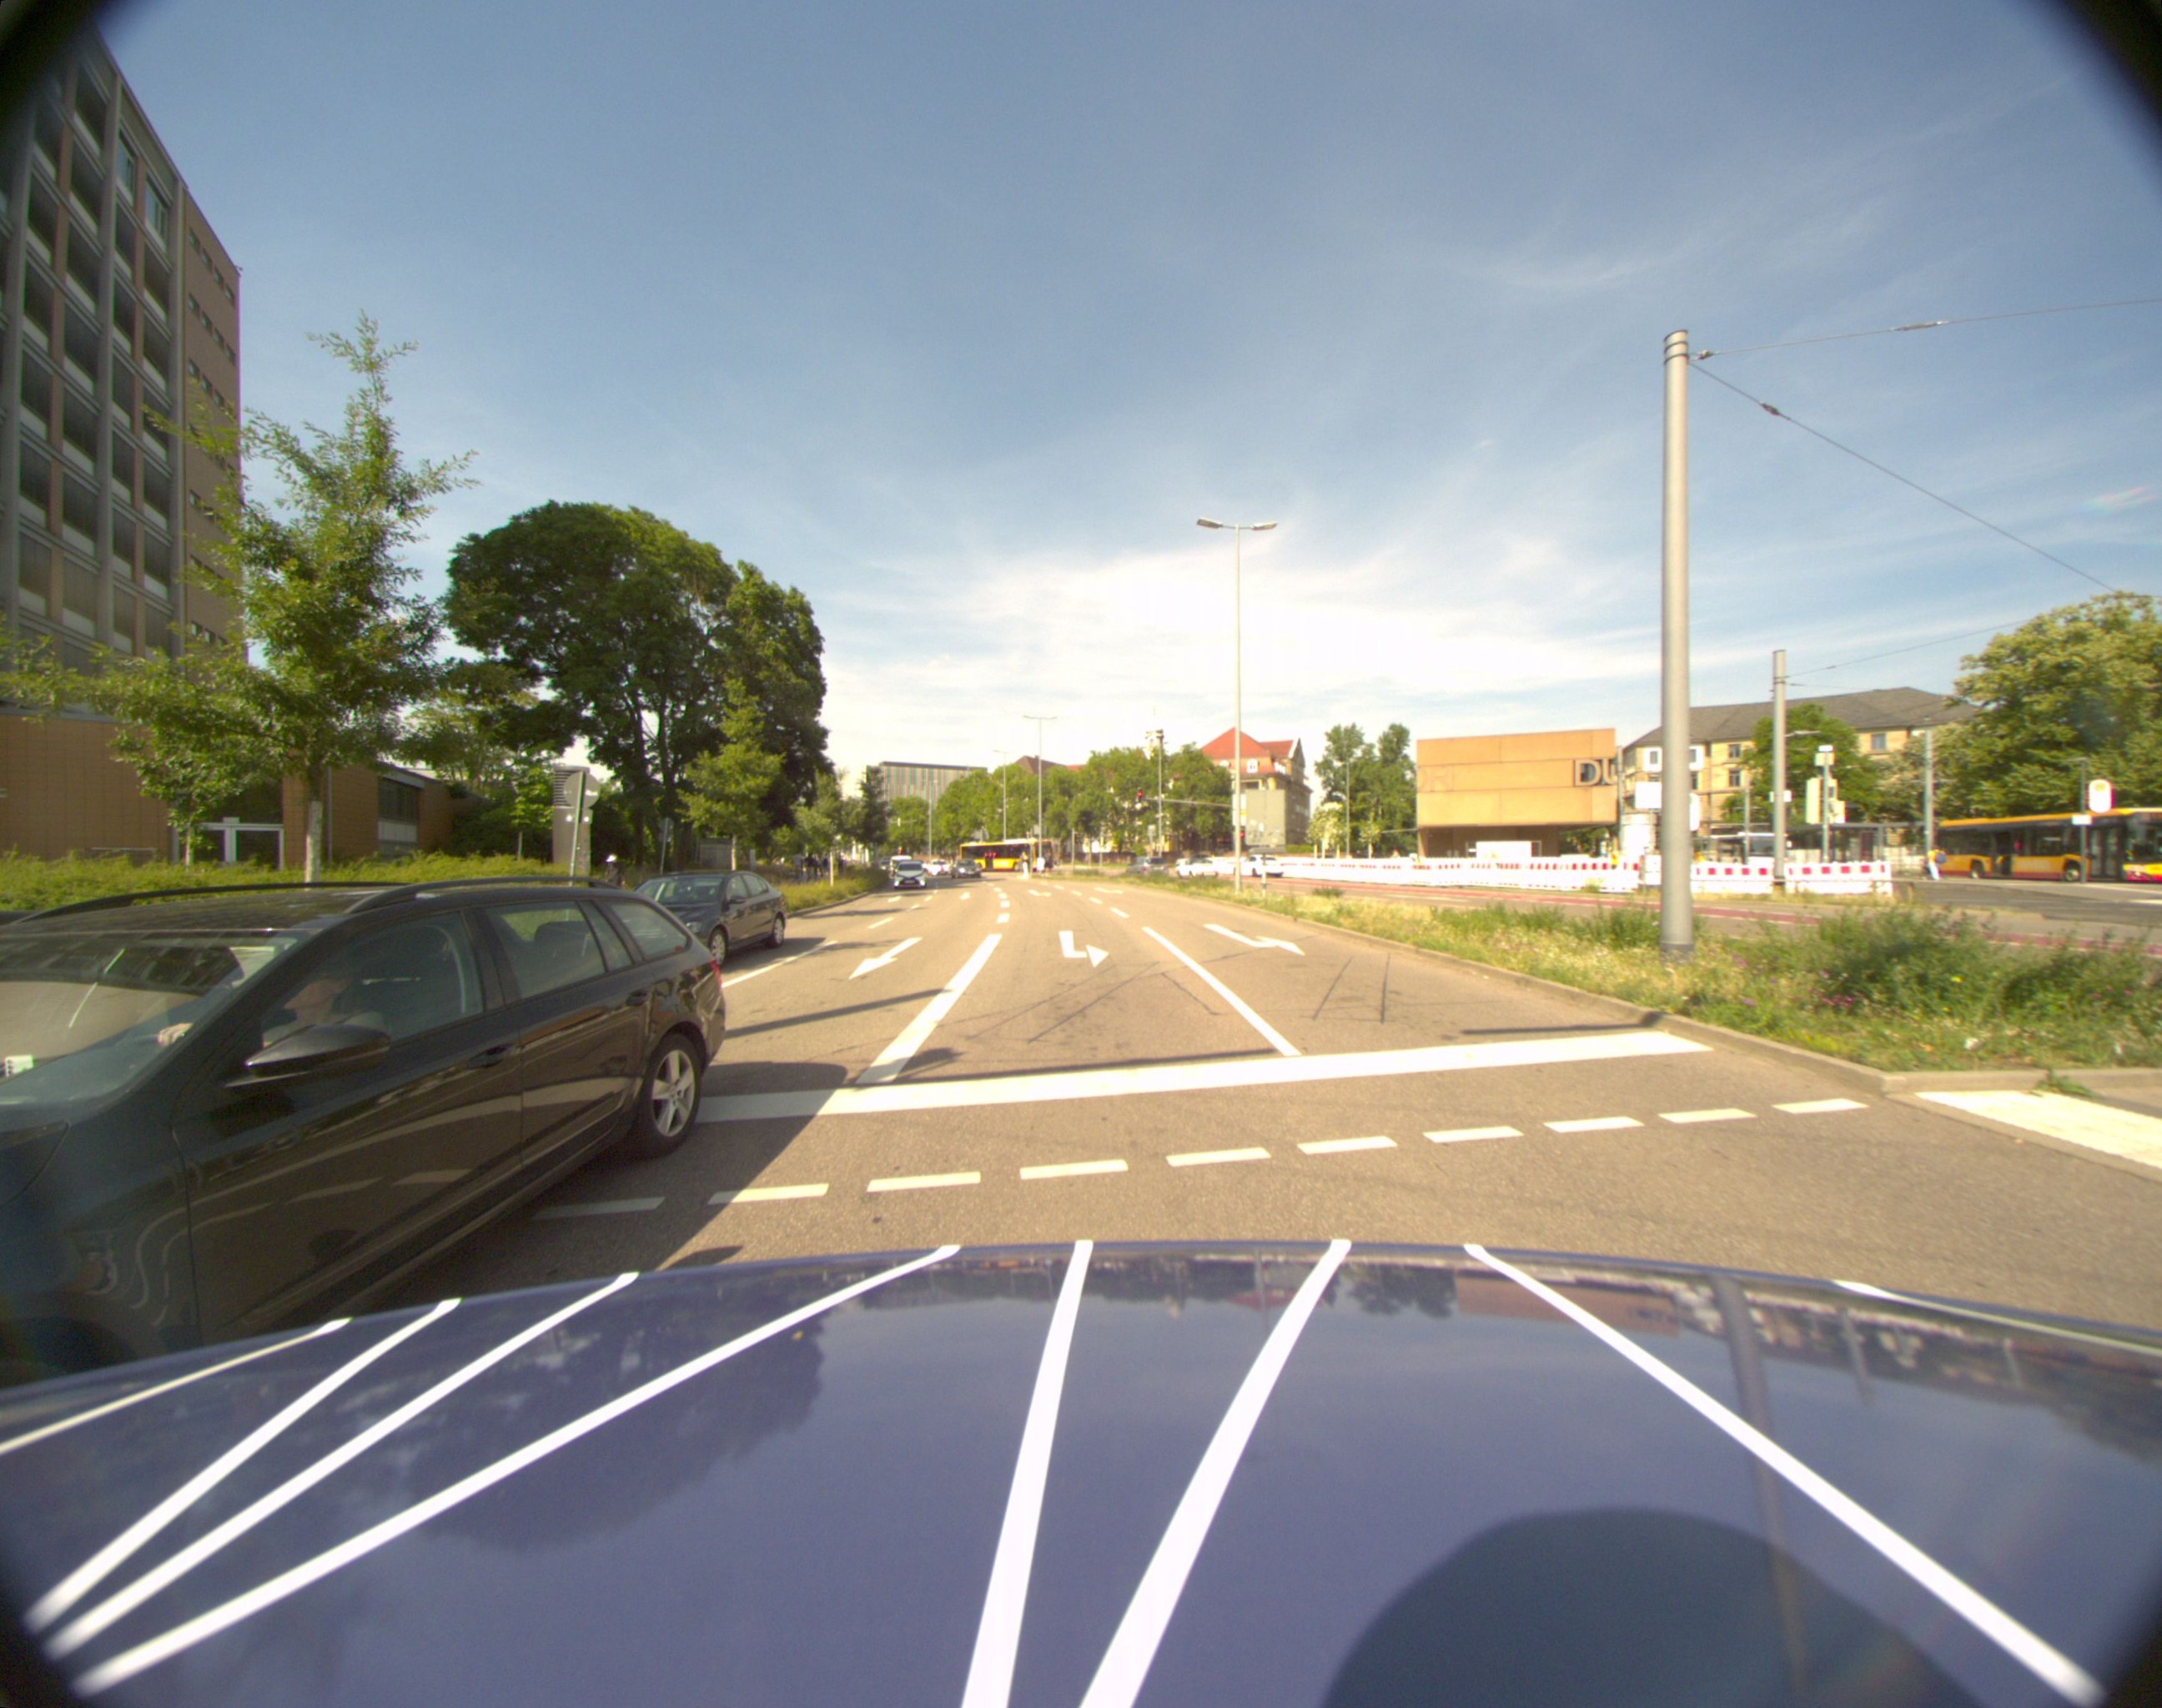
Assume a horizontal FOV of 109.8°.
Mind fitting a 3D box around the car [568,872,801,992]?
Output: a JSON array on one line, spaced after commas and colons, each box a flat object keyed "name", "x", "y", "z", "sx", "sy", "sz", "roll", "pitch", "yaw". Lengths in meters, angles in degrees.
[{"name": "car", "x": -6.202, "y": 1.105, "z": 12.571, "sx": 1.635, "sy": 1.427, "sz": 4.527, "roll": -2, "pitch": 1, "yaw": -3}]

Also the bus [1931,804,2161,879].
[{"name": "bus", "x": 41.855, "y": -0.628, "z": 32.680, "sx": 2.752, "sy": 2.667, "sz": 11.807, "roll": -2, "pitch": 1, "yaw": 26}]

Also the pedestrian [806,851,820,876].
[{"name": "pedestrian", "x": -17.661, "y": 0.612, "z": 50.130, "sx": 0.643, "sy": 1.617, "sz": 0.731, "roll": 1, "pitch": 1, "yaw": -2}]

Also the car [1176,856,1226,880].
[{"name": "car", "x": 7.213, "y": 0.807, "z": 46.156, "sx": 1.600, "sy": 1.279, "sz": 3.995, "roll": -3, "pitch": 1, "yaw": -13}]

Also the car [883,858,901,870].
[{"name": "car", "x": -19.931, "y": 1.037, "z": 80.149, "sx": 1.492, "sy": 1.286, "sz": 3.480, "roll": 0, "pitch": 0, "yaw": -20}]

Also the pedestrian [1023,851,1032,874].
[{"name": "pedestrian", "x": -3.829, "y": 0.624, "z": 54.485, "sx": 0.541, "sy": 1.664, "sz": 0.752, "roll": 0, "pitch": 0, "yaw": -2}]

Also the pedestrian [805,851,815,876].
[{"name": "pedestrian", "x": -19.117, "y": 0.668, "z": 53.631, "sx": 0.644, "sy": 1.754, "sz": 0.474, "roll": 1, "pitch": 1, "yaw": -23}]

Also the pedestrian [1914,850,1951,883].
[{"name": "pedestrian", "x": 36.452, "y": 0.517, "z": 32.539, "sx": 0.539, "sy": 1.359, "sz": 0.911, "roll": -2, "pitch": 1, "yaw": -2}]

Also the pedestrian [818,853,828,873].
[{"name": "pedestrian", "x": -18.323, "y": 0.643, "z": 53.991, "sx": 0.644, "sy": 1.438, "sz": 0.568, "roll": 1, "pitch": 1, "yaw": -23}]

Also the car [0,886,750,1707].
[{"name": "car", "x": -2.948, "y": 0.978, "z": 2.647, "sx": 1.635, "sy": 1.427, "sz": 4.778, "roll": -2, "pitch": 1, "yaw": -2}]

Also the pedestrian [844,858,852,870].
[{"name": "pedestrian", "x": -20.924, "y": 0.892, "z": 68.314, "sx": 0.644, "sy": 1.125, "sz": 0.751, "roll": 1, "pitch": 1, "yaw": -18}]

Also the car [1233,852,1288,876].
[{"name": "car", "x": 11.433, "y": 0.597, "z": 48.592, "sx": 1.804, "sy": 1.412, "sz": 3.995, "roll": -3, "pitch": 1, "yaw": -13}]

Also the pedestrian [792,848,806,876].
[{"name": "pedestrian", "x": -18.639, "y": 0.530, "z": 50.200, "sx": 0.643, "sy": 1.827, "sz": 0.731, "roll": 1, "pitch": 1, "yaw": -2}]

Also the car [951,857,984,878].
[{"name": "car", "x": -8.508, "y": 1.008, "z": 56.616, "sx": 1.653, "sy": 1.416, "sz": 4.113, "roll": -3, "pitch": 1, "yaw": -20}]

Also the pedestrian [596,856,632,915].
[{"name": "pedestrian", "x": -13.527, "y": 0.904, "z": 22.020, "sx": 0.593, "sy": 1.654, "sz": 0.731, "roll": 1, "pitch": 1, "yaw": -2}]

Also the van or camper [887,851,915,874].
[{"name": "van or camper", "x": -15.806, "y": 0.696, "z": 66.436, "sx": 1.732, "sy": 1.877, "sz": 4.914, "roll": -3, "pitch": 1, "yaw": -20}]

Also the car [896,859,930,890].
[{"name": "car", "x": -9.096, "y": 1.080, "z": 41.180, "sx": 1.683, "sy": 1.466, "sz": 3.755, "roll": -3, "pitch": 1, "yaw": -12}]

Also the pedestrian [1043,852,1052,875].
[{"name": "pedestrian", "x": -2.448, "y": 0.686, "z": 55.150, "sx": 0.643, "sy": 1.664, "sz": 0.752, "roll": 0, "pitch": 0, "yaw": -2}]

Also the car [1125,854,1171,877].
[{"name": "car", "x": 4.062, "y": 0.666, "z": 46.389, "sx": 1.600, "sy": 1.279, "sz": 3.995, "roll": -3, "pitch": 1, "yaw": -13}]

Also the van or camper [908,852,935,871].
[{"name": "van or camper", "x": -16.670, "y": 0.750, "z": 79.146, "sx": 1.923, "sy": 1.876, "sz": 4.913, "roll": -1, "pitch": 0, "yaw": -21}]

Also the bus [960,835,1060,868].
[{"name": "bus", "x": -7.180, "y": -0.214, "z": 74.583, "sx": 2.803, "sy": 3.020, "sz": 12.114, "roll": -1, "pitch": 0, "yaw": -44}]

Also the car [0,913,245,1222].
[{"name": "car", "x": -6.122, "y": 1.101, "z": 2.563, "sx": 1.704, "sy": 1.421, "sz": 4.398, "roll": -1, "pitch": 0, "yaw": 0}]

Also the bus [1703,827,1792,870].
[{"name": "bus", "x": 57.185, "y": -0.441, "z": 65.586, "sx": 2.751, "sy": 3.303, "sz": 11.810, "roll": 0, "pitch": 0, "yaw": 26}]

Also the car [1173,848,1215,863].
[{"name": "car", "x": 11.967, "y": 0.182, "z": 80.444, "sx": 4.118, "sy": 1.435, "sz": 1.756, "roll": -3, "pitch": 1, "yaw": -27}]

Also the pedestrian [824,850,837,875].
[{"name": "pedestrian", "x": -16.748, "y": 0.559, "z": 50.818, "sx": 0.643, "sy": 1.664, "sz": 0.752, "roll": 1, "pitch": 1, "yaw": -2}]

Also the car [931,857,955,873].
[{"name": "car", "x": -12.123, "y": 0.968, "z": 66.571, "sx": 1.492, "sy": 1.286, "sz": 3.480, "roll": -2, "pitch": 1, "yaw": -20}]
